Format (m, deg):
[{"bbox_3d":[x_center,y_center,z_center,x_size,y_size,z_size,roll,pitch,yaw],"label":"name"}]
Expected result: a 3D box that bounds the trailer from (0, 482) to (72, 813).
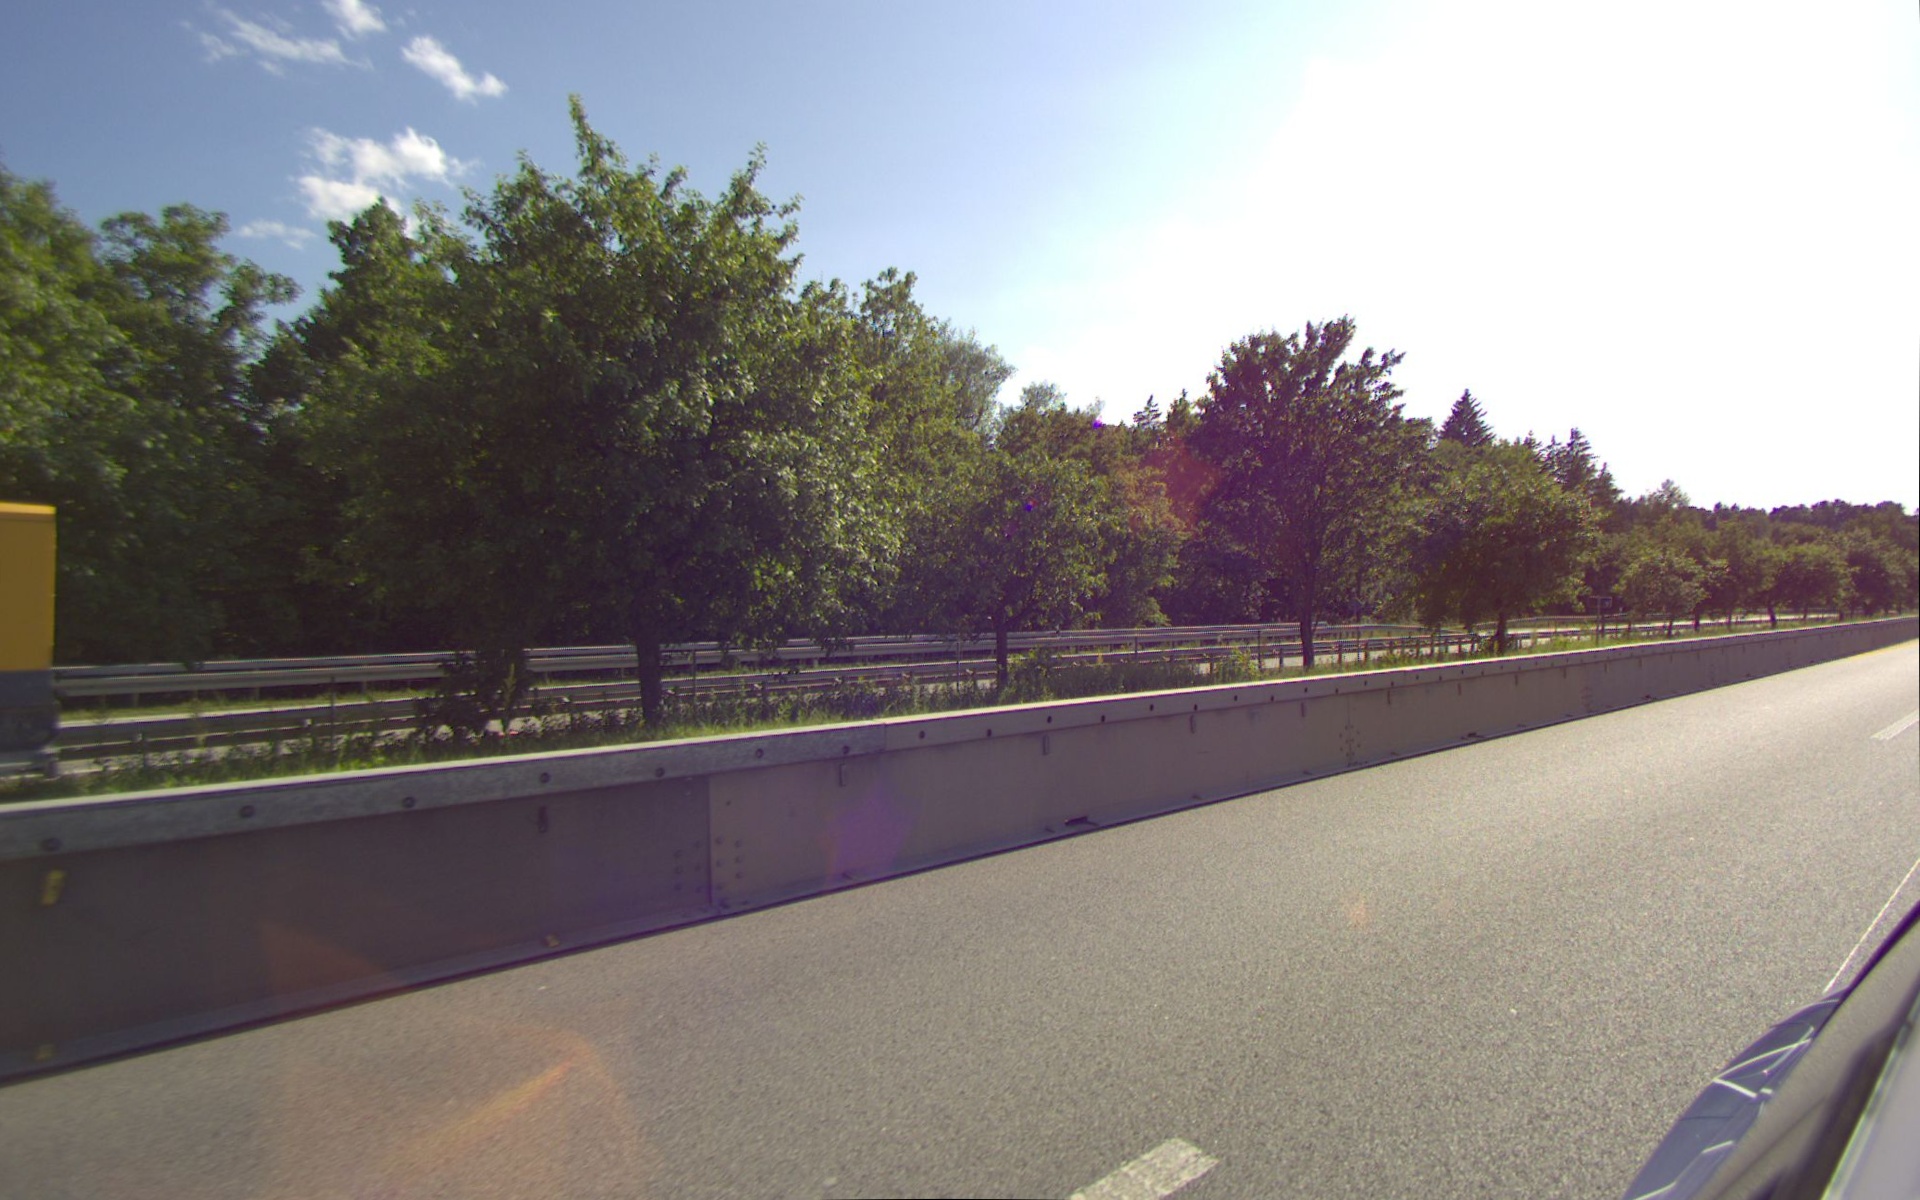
[{"bbox_3d":[-7.072,0.263,5.067,3.932,1.897,1.126,0,2,-43],"label":"trailer"}]
